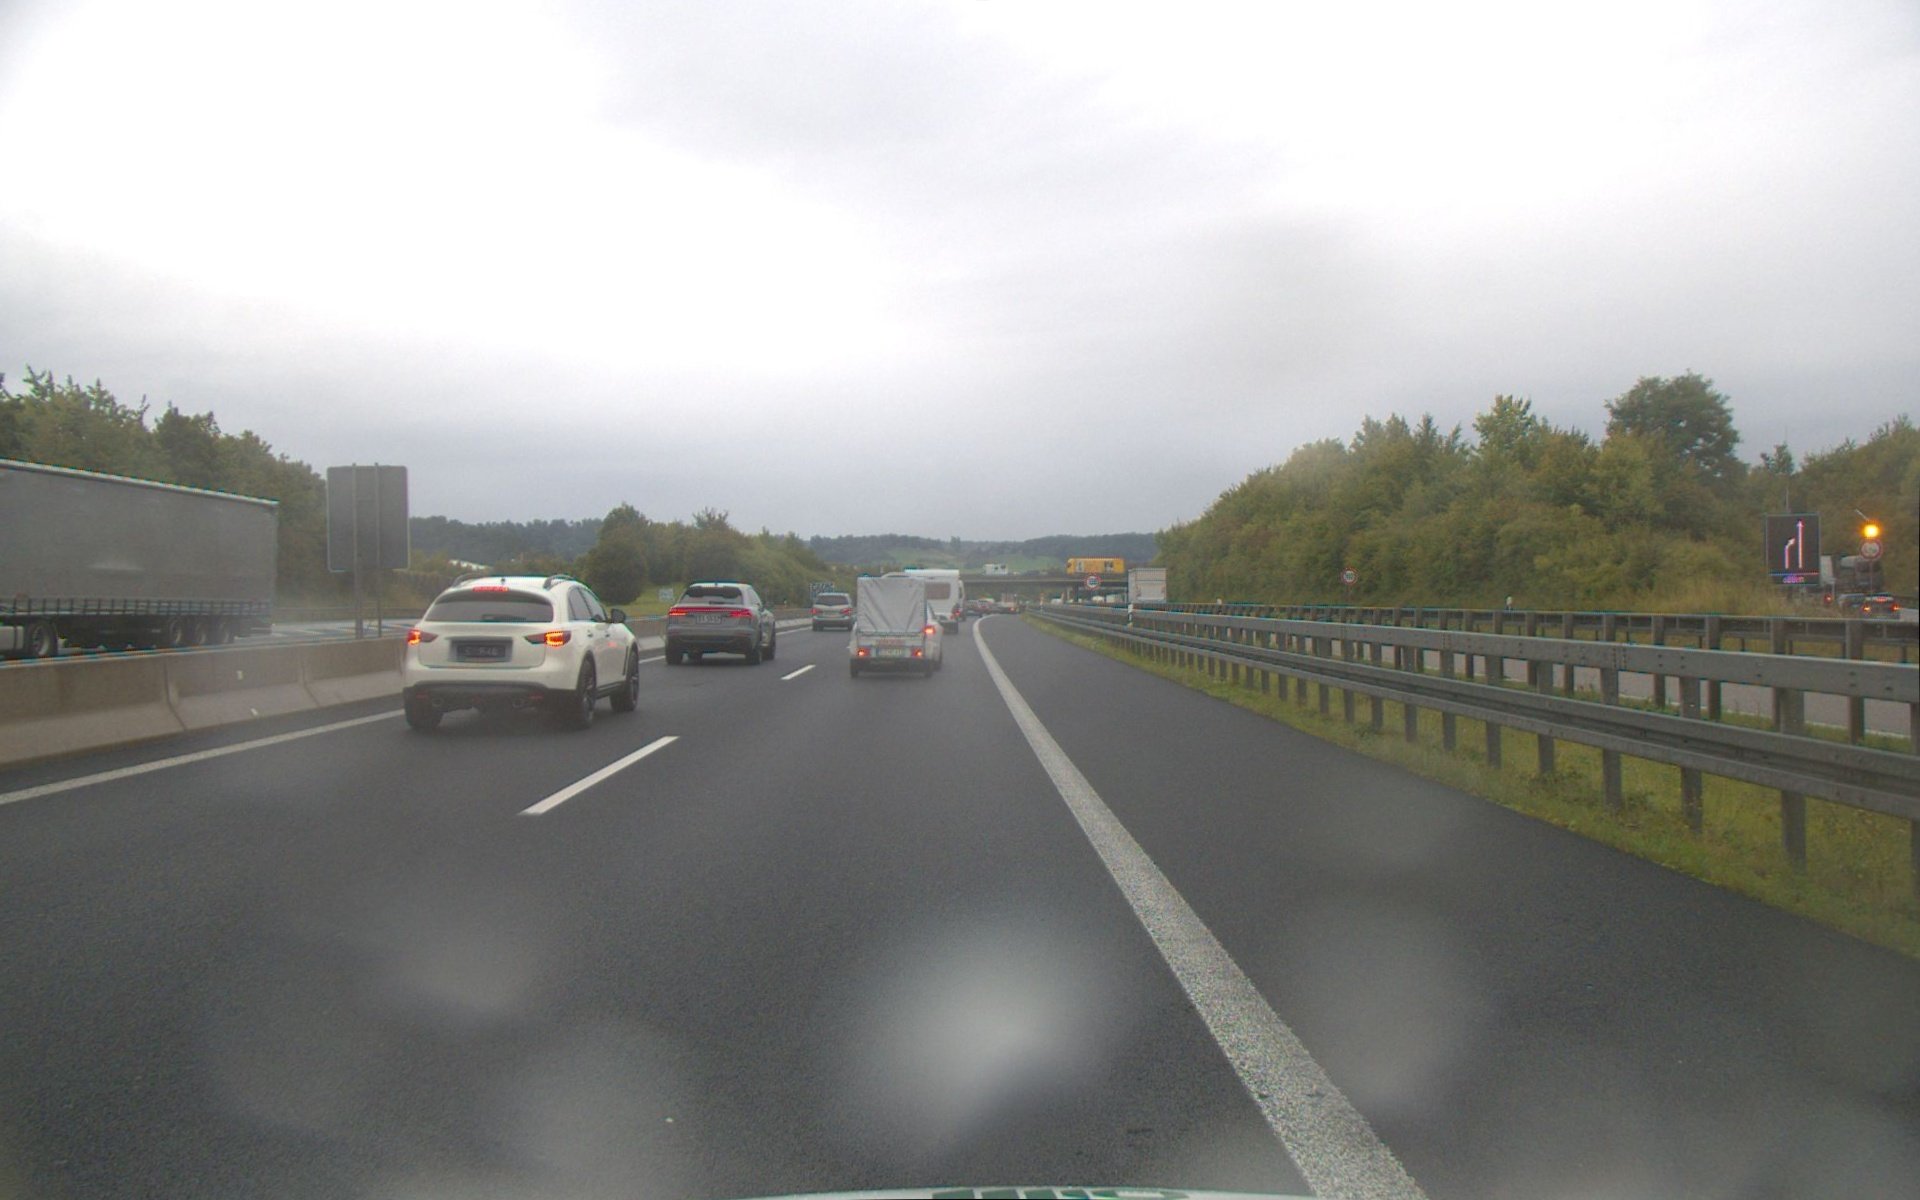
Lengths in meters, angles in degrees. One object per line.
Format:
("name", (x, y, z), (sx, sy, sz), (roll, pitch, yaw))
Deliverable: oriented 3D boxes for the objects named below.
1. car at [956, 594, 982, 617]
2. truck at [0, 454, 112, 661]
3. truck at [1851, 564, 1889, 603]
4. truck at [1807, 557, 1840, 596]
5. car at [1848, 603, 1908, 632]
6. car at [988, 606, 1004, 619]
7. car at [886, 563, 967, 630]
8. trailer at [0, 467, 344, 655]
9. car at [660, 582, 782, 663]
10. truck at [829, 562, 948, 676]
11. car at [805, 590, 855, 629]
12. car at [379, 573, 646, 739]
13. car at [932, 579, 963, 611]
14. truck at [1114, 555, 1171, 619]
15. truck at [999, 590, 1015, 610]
("car", (0.759, 0.451, 137.021), (1.952, 1.780, 4.001), (1, 0, 2))
("truck", (-20.822, -0.848, 33.602), (3.192, 4.155, 7.442), (0, 0, 2))
("truck", (65.665, -1.183, 119.390), (2.393, 2.752, 5.560), (0, 0, 29))
("truck", (67.536, -1.803, 129.332), (2.201, 2.929, 8.162), (0, 0, 28))
("car", (46.597, 0.872, 84.015), (1.820, 1.473, 4.160), (0, 0, 17))
("car", (5.057, 1.803, 231.809), (1.952, 1.780, 4.002), (1, 0, 3))
("car", (-1.342, -0.165, 69.237), (2.953, 2.662, 6.077), (0, 0, 3))
("trailer", (-20.555, -0.894, 43.509), (3.192, 4.155, 13.848), (0, 0, 2))
("car", (-5.176, 0.464, 36.343), (2.130, 1.660, 4.499), (0, 0, -2))
("truck", (-1.295, 0.321, 32.952), (1.977, 2.020, 7.213), (0, 0, 1))
("car", (-5.575, 0.403, 71.403), (1.861, 1.641, 4.017), (0, 0, 0))
("car", (-4.929, 0.564, 18.917), (1.936, 1.668, 4.499), (0, 0, -2))
("car", (-0.874, -0.295, 110.542), (1.953, 2.071, 4.150), (1, 0, -2))
("truck", (15.215, -1.097, 138.663), (4.008, 5.193, 10.466), (0, 0, 2))
("truck", (7.449, 0.019, 260.634), (2.230, 3.136, 7.249), (1, 0, 3))
